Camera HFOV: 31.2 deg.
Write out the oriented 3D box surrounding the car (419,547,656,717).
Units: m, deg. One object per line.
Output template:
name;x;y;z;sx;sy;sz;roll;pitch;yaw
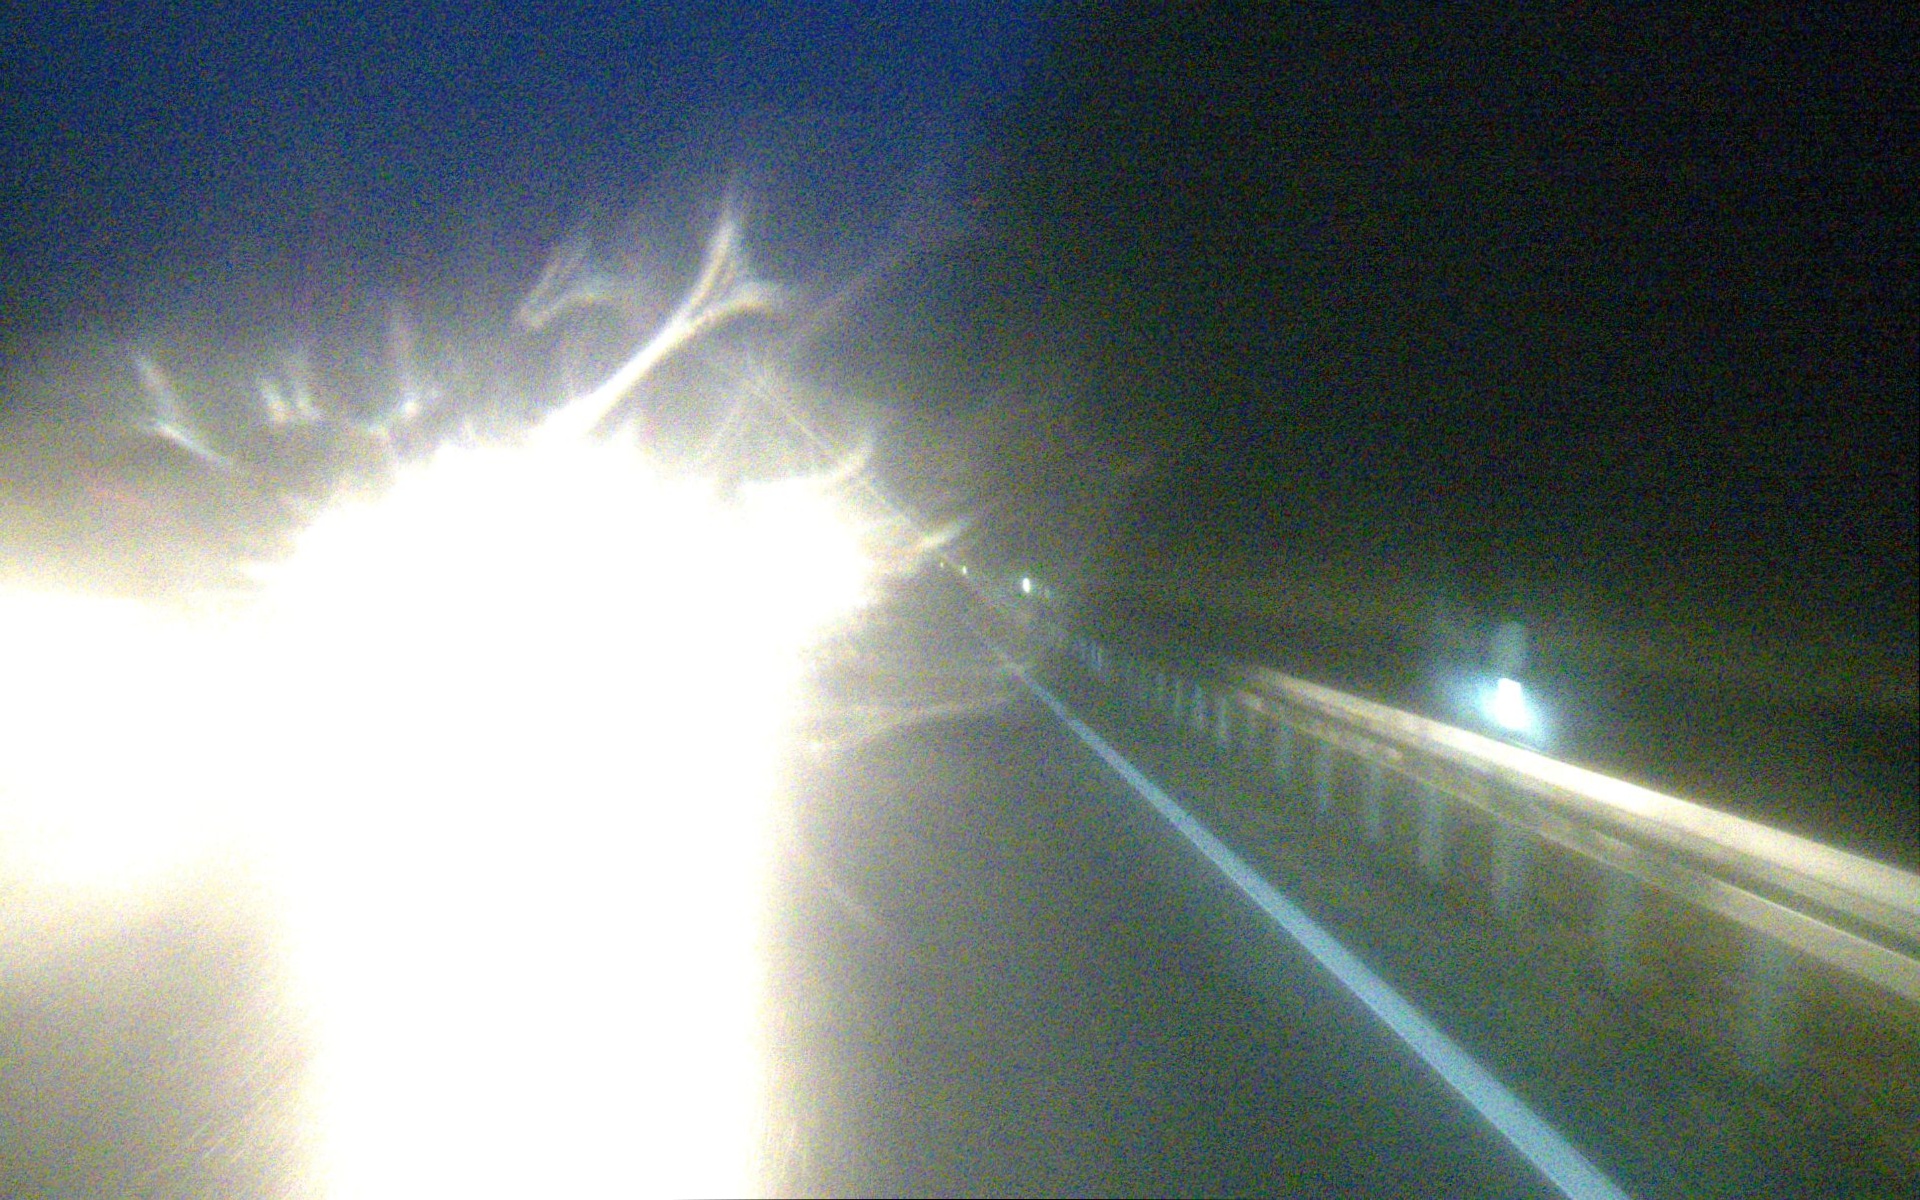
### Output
car;-4.067;0.276;33.762;1.834;1.539;4.646;0;0;-1
